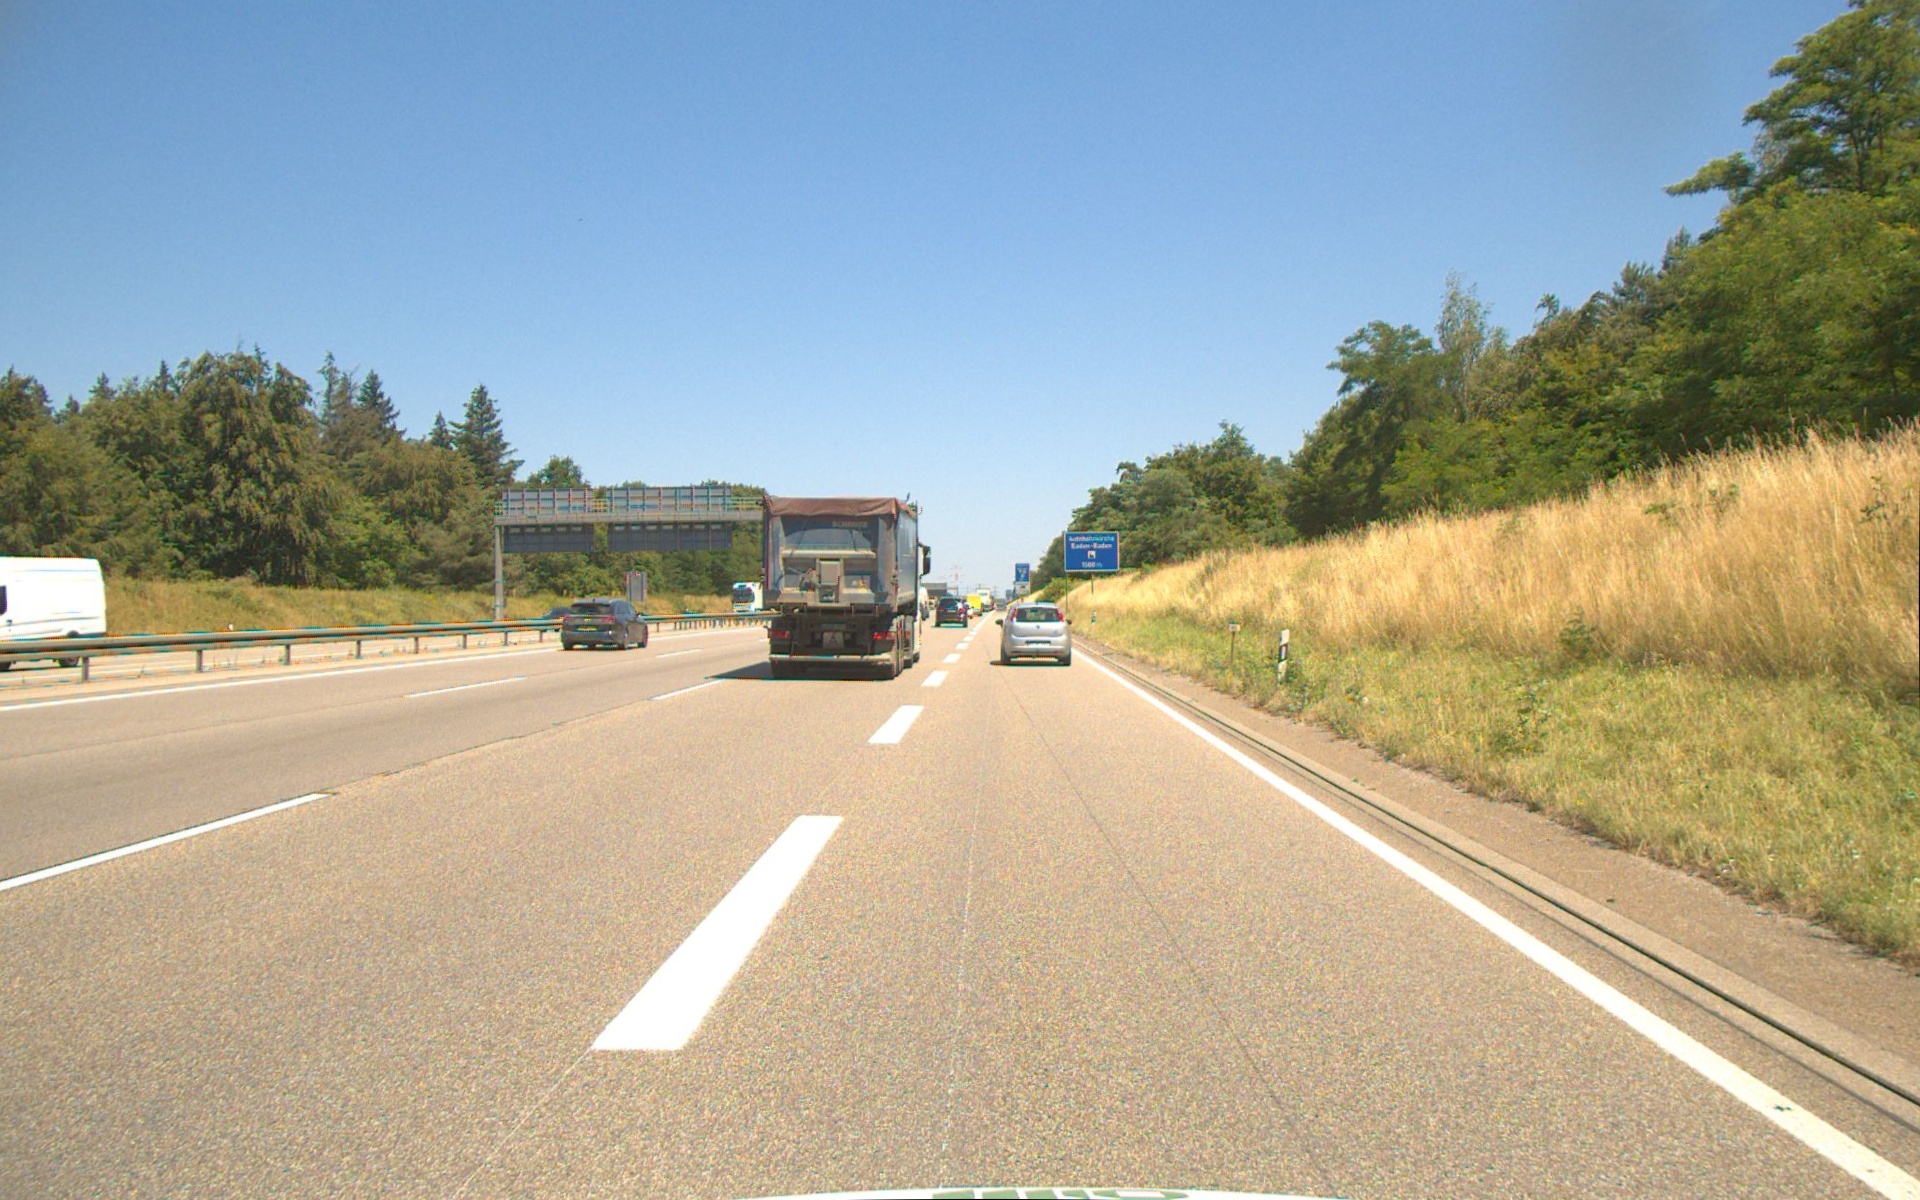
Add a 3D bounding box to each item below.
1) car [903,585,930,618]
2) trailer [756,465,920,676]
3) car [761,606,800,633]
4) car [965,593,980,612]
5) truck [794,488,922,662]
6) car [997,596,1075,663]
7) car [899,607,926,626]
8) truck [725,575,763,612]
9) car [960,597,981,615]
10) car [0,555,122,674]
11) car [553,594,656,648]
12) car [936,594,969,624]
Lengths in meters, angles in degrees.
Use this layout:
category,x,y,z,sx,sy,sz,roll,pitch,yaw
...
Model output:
category,x,y,z,sx,sy,sz,roll,pitch,yaw
car,-4.013,0.134,152.017,2.213,3.002,6.113,1,0,0
trailer,-2.324,-0.561,34.554,2.681,3.824,9.109,0,0,0
car,-10.332,1.105,95.458,1.668,1.500,4.597,0,0,1
car,1.389,0.263,179.553,1.578,2.049,4.000,1,0,0
truck,-2.311,-0.558,39.291,2.629,3.824,5.944,0,0,0
car,1.811,0.684,40.425,1.684,1.517,3.736,1,0,-1
car,-3.758,1.299,131.622,1.855,1.495,4.262,1,0,2
truck,-24.096,-0.686,184.891,3.147,4.088,6.218,0,0,3
car,0.942,0.560,148.909,1.783,1.518,3.737,1,-1,1
car,-23.427,0.368,40.346,2.295,2.758,6.874,-2,0,1
car,-10.284,0.581,48.190,1.794,1.457,5.000,1,0,1
car,-0.415,0.549,97.874,1.794,1.701,4.001,1,0,2
